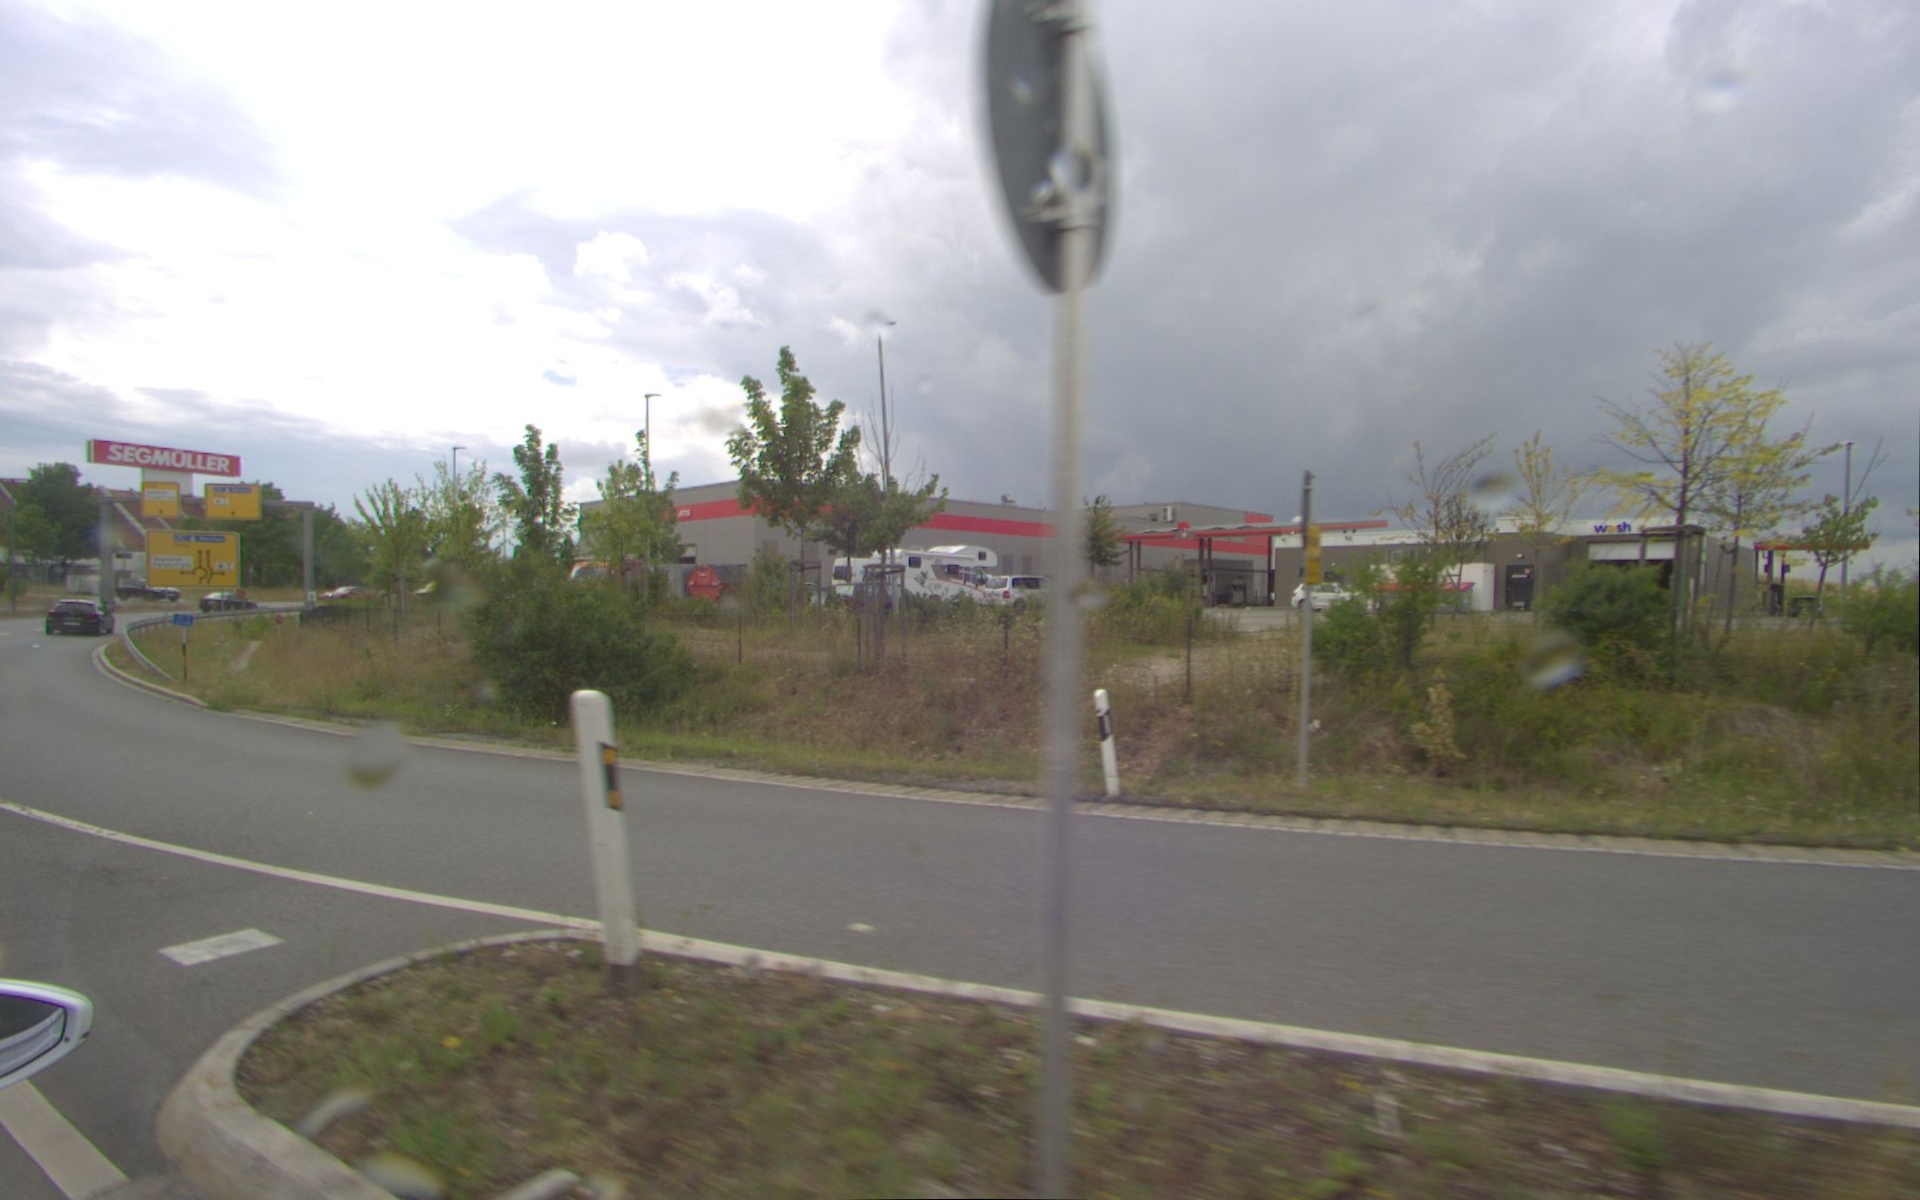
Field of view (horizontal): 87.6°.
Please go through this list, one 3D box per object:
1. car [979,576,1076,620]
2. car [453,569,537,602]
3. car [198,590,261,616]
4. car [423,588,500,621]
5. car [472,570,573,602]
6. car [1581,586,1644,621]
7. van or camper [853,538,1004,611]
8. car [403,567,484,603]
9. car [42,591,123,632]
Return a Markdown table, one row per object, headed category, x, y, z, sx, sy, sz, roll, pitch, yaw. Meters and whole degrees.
| category | x | y | z | sx | sy | sz | roll | pitch | yaw |
| --- | --- | --- | --- | --- | --- | --- | --- | --- | --- |
| car | 2.877 | -0.093 | 42.362 | 4.016 | 1.744 | 1.764 | -2 | 1 | -41 |
| car | -23.316 | -0.757 | 50.332 | 1.662 | 1.540 | 3.784 | 2 | 2 | 20 |
| car | -47.880 | 0.221 | 65.722 | 1.877 | 1.639 | 3.996 | 1 | -1 | -13 |
| car | -28.560 | 0.268 | 57.488 | 1.701 | 1.674 | 3.855 | 4 | -1 | 16 |
| car | -20.683 | -0.636 | 47.547 | 1.674 | 1.418 | 4.579 | 1 | 0 | 21 |
| car | 28.999 | 0.160 | 44.470 | 1.652 | 1.449 | 3.965 | 0 | -1 | 43 |
| van or camper | -1.368 | -1.134 | 47.859 | 2.465 | 3.222 | 7.669 | 2 | 2 | 43 |
| car | -30.192 | -0.866 | 58.636 | 1.771 | 1.805 | 4.167 | 4 | -1 | 15 |
| car | -36.547 | 0.480 | 41.814 | 1.849 | 1.626 | 3.714 | 1 | -1 | -31 |
